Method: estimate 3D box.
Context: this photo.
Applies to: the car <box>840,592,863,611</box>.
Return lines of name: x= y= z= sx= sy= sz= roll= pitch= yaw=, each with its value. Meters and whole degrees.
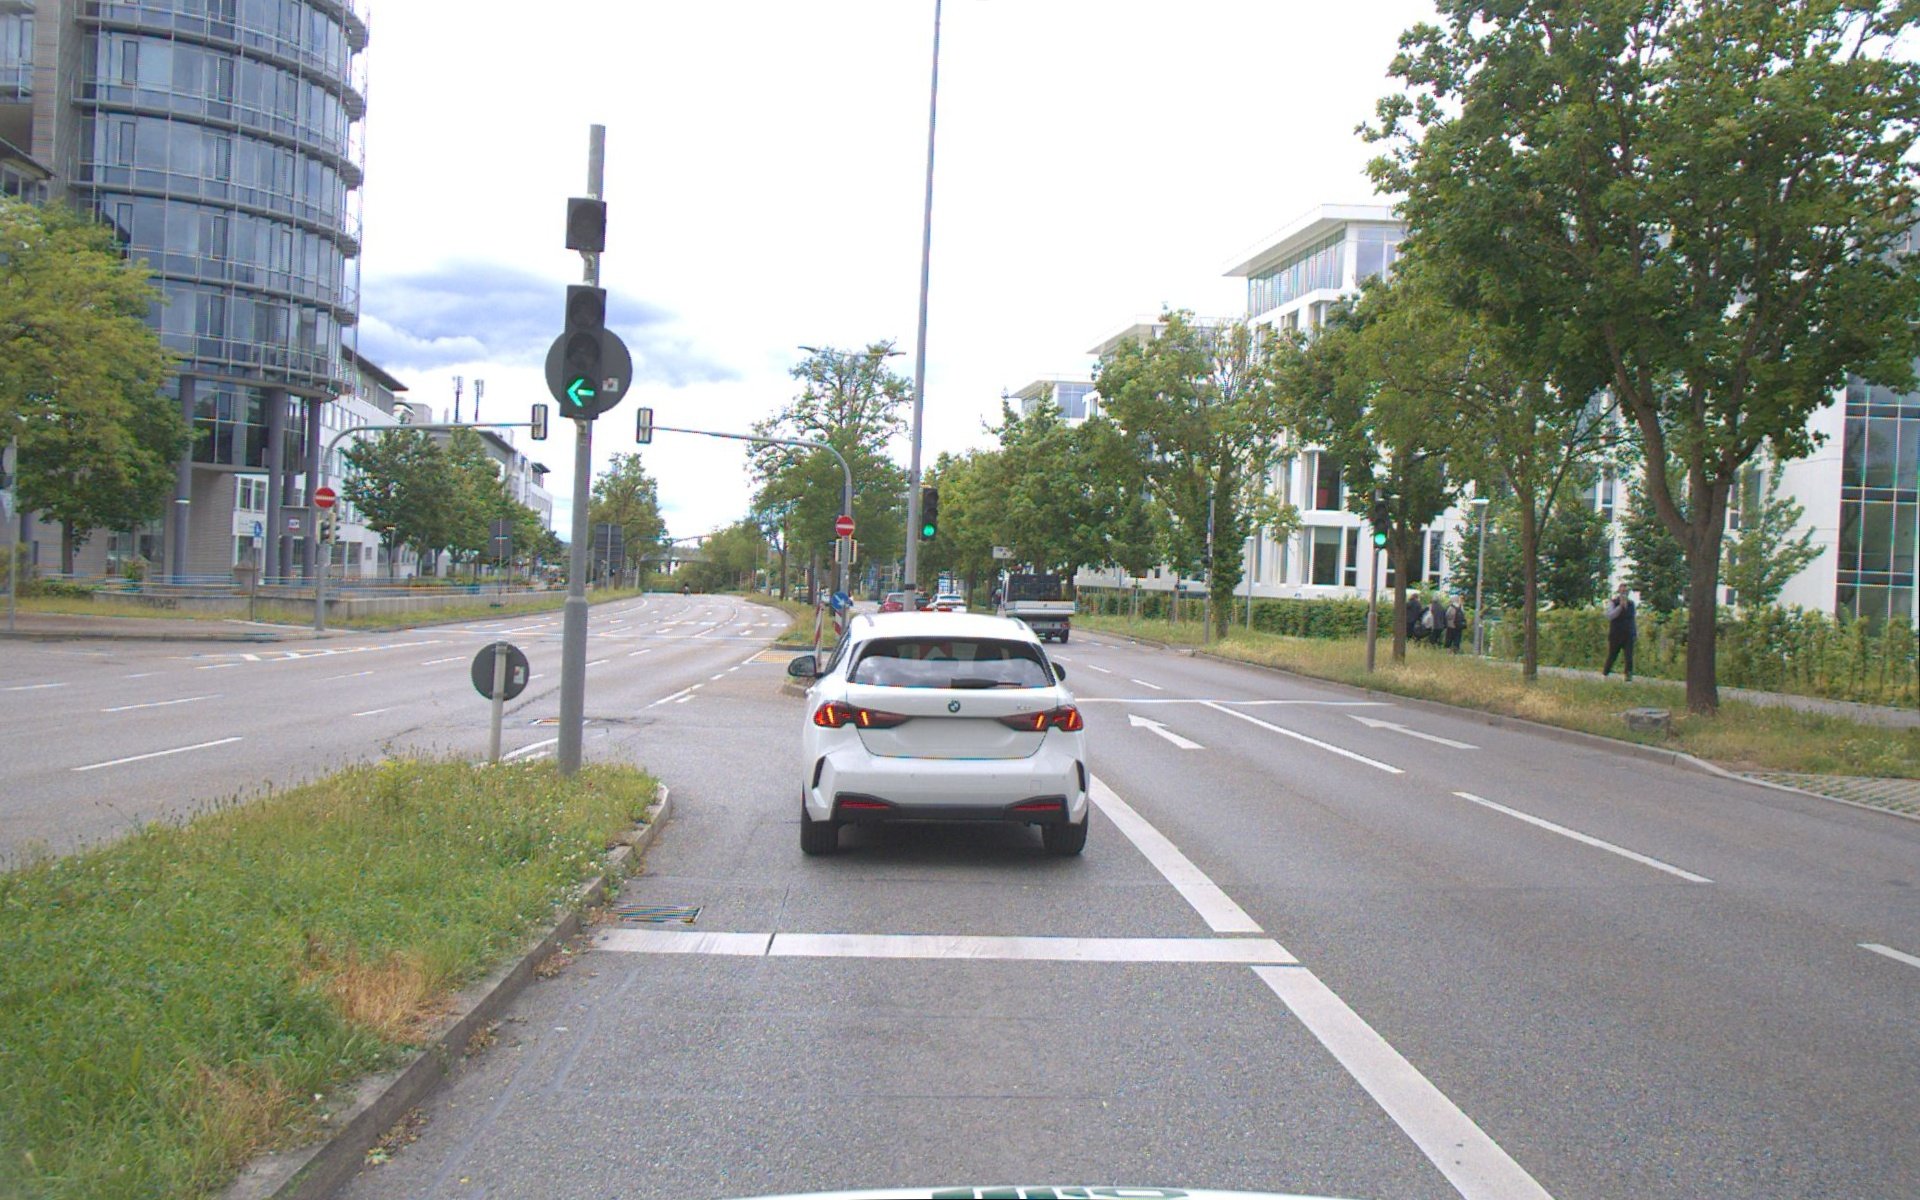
car: x=-9.894 y=0.124 z=150.462 sx=1.820 sy=1.624 sz=4.306 roll=1 pitch=0 yaw=-8

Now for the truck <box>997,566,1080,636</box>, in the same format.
truck: x=2.666 y=0.042 z=57.460 sx=2.168 sy=2.242 sz=5.839 roll=2 pitch=0 yaw=-4

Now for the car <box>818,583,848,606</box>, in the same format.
car: x=-9.418 y=-0.381 z=122.268 sx=1.821 sy=1.624 sz=4.304 roll=1 pitch=0 yaw=-10

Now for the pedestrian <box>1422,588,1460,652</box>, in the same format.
pedestrian: x=12.523 y=0.516 z=43.088 sx=0.685 sy=1.623 sz=0.883 roll=1 pitch=-1 yaw=-1

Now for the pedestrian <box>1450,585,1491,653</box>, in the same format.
pedestrian: x=13.273 y=0.490 z=43.048 sx=0.751 sy=1.715 sz=0.883 roll=1 pitch=-1 yaw=-1

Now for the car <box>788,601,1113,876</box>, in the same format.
car: x=-0.056 y=0.784 z=11.348 sx=1.785 sy=1.463 sz=4.000 roll=2 pitch=0 yaw=0

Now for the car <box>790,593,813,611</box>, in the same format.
car: x=-15.176 y=0.193 z=158.336 sx=1.856 sy=1.624 sz=4.305 roll=2 pitch=0 yaw=-9

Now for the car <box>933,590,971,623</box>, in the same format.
car: x=-0.412 y=0.337 z=82.572 sx=1.681 sy=1.583 sz=4.087 roll=1 pitch=0 yaw=-3

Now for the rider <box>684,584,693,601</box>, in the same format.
rider: x=-29.981 y=-0.807 z=182.777 sx=0.829 sy=1.802 sz=0.807 roll=1 pitch=-1 yaw=-3

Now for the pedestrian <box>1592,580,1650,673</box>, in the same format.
pedestrian: x=11.613 y=0.468 z=29.073 sx=0.726 sy=1.601 sz=0.674 roll=1 pitch=-1 yaw=-1

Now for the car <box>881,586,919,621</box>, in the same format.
car: x=-2.846 y=0.165 z=78.200 sx=1.682 sy=1.585 sz=3.855 roll=1 pitch=0 yaw=-4

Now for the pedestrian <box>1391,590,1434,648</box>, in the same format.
pedestrian: x=11.781 y=0.497 z=43.123 sx=0.773 sy=1.473 sz=1.112 roll=1 pitch=-1 yaw=-1

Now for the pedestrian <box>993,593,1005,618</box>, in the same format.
pedestrian: x=3.169 y=0.464 z=135.720 sx=0.749 sy=2.049 sz=0.751 roll=2 pitch=-1 yaw=-15
